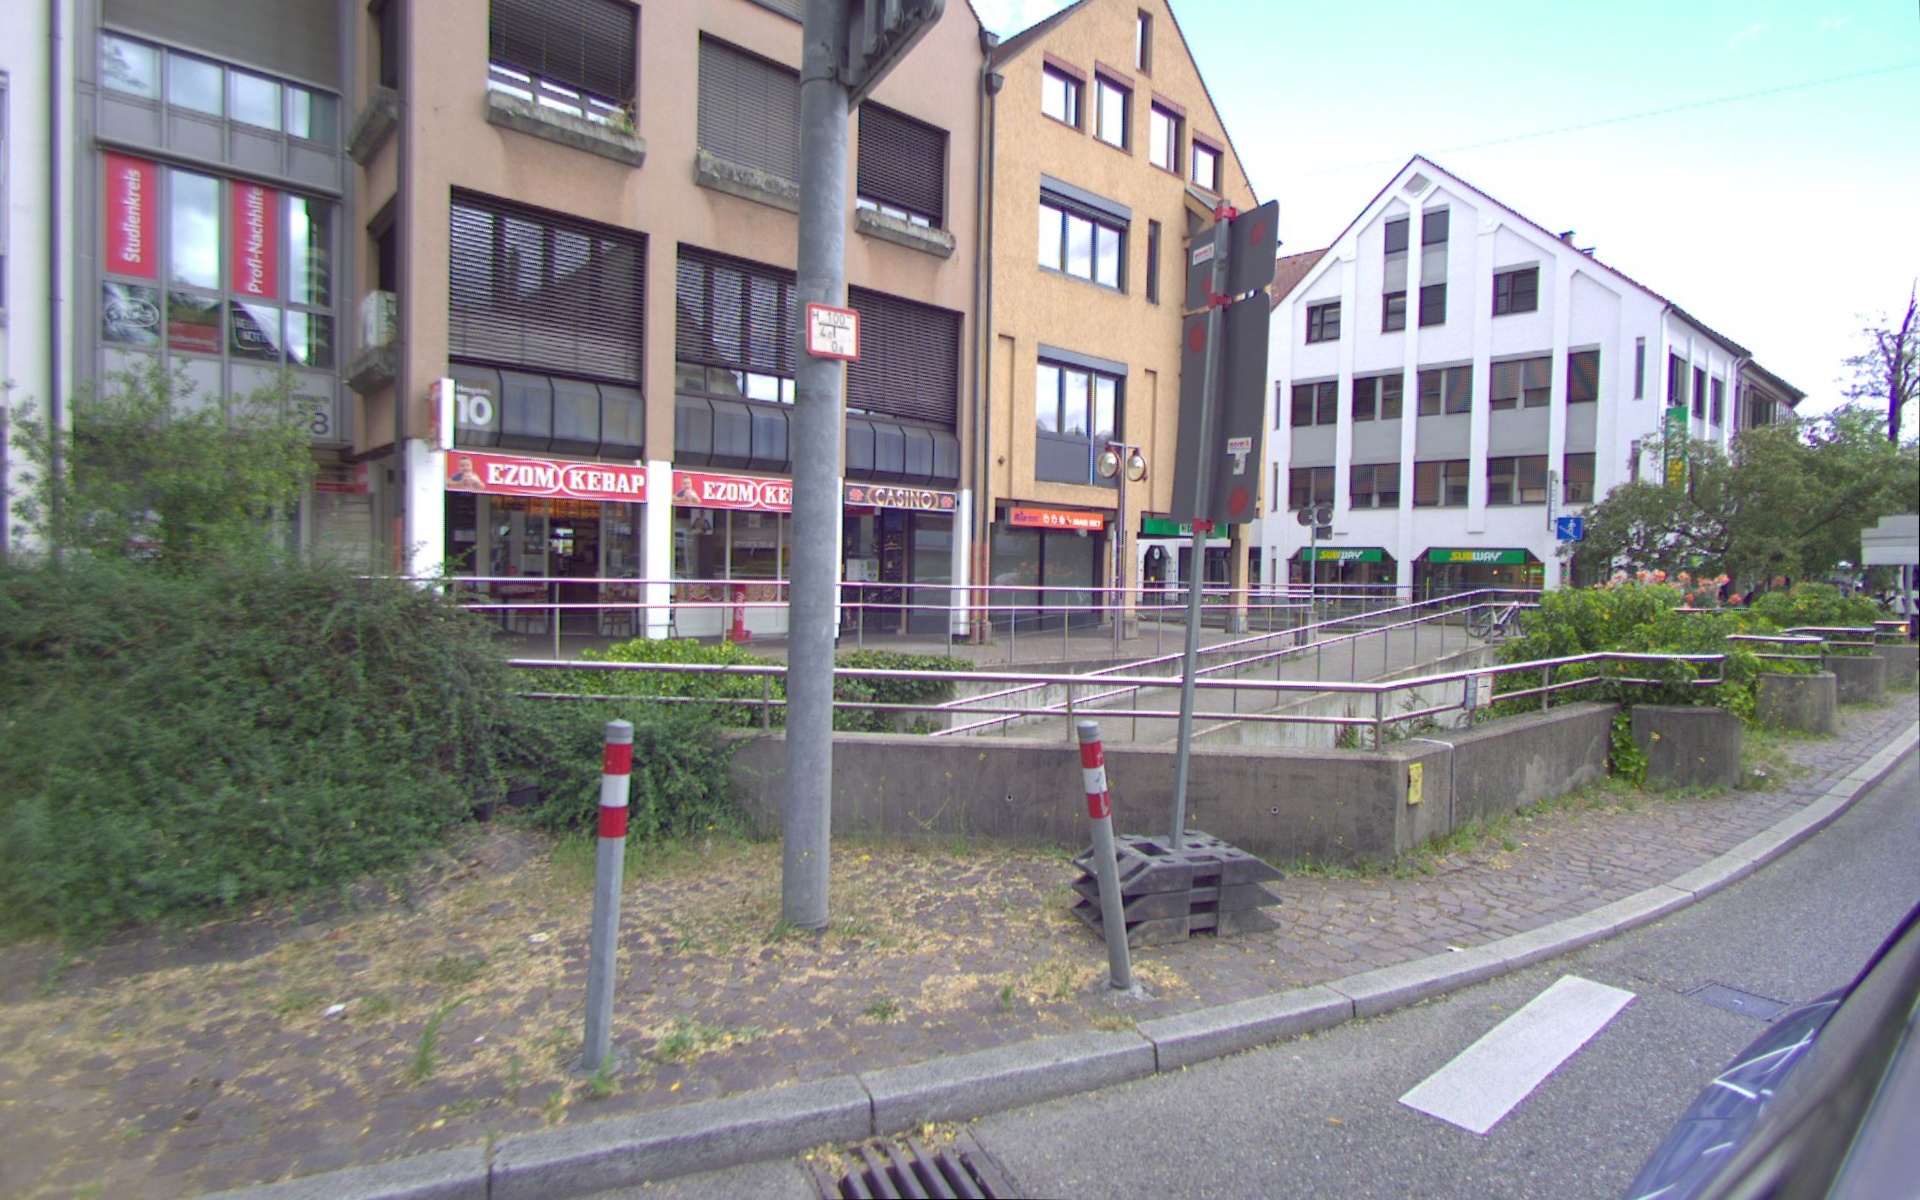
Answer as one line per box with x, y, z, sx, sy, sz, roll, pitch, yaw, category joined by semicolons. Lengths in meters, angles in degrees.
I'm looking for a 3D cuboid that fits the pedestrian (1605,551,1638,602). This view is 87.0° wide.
24.229;-0.845;37.059;0.772;1.846;0.869;0;0;-45;pedestrian

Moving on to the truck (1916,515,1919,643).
30.331;-0.617;29.736;8.201;3.528;2.444;-1;0;-41;truck

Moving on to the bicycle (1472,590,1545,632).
13.989;0.262;25.830;1.584;1.014;0.409;2;1;36;bicycle

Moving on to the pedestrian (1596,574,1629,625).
23.299;-0.028;36.126;0.882;1.779;0.932;2;1;38;pedestrian

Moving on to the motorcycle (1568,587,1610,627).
17.856;0.197;28.710;1.961;1.081;0.464;0;2;-41;motorcycle

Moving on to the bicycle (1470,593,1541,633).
14.340;0.322;26.623;1.583;0.981;0.456;2;1;35;bicycle

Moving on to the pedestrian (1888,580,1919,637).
27.295;0.242;29.191;0.672;1.596;0.653;0;1;-40;pedestrian
